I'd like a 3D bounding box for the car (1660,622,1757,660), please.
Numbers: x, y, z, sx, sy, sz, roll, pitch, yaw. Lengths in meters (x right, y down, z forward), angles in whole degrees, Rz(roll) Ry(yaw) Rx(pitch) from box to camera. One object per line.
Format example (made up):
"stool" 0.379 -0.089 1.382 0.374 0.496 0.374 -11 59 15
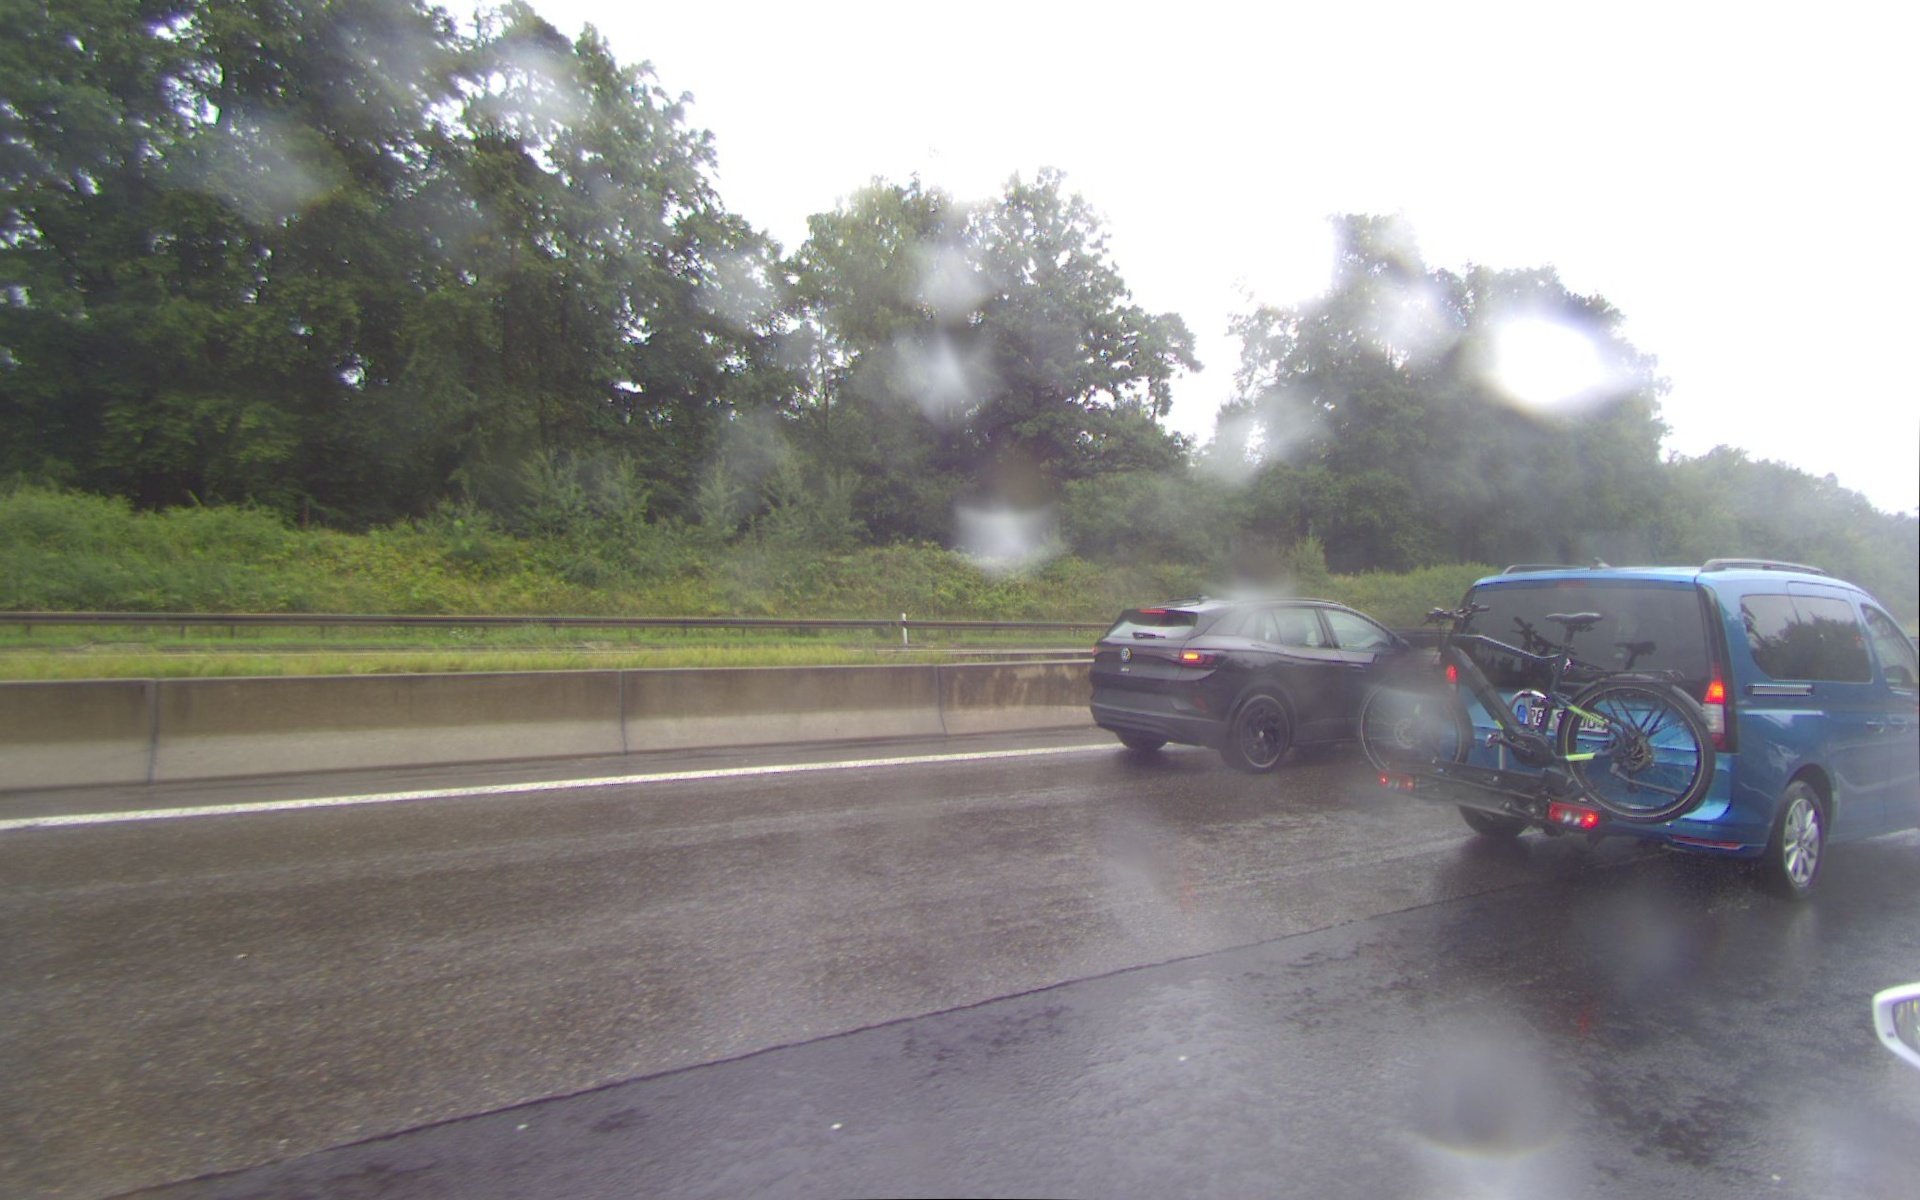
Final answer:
"car" 29.362 1.588 39.390 3.633 1.363 1.793 1 0 -31

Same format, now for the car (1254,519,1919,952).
"car" 4.607 0.639 6.699 4.954 1.937 2.259 1 0 -29

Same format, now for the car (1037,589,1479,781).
"car" 3.138 0.748 10.362 4.413 1.613 1.837 1 0 -30
